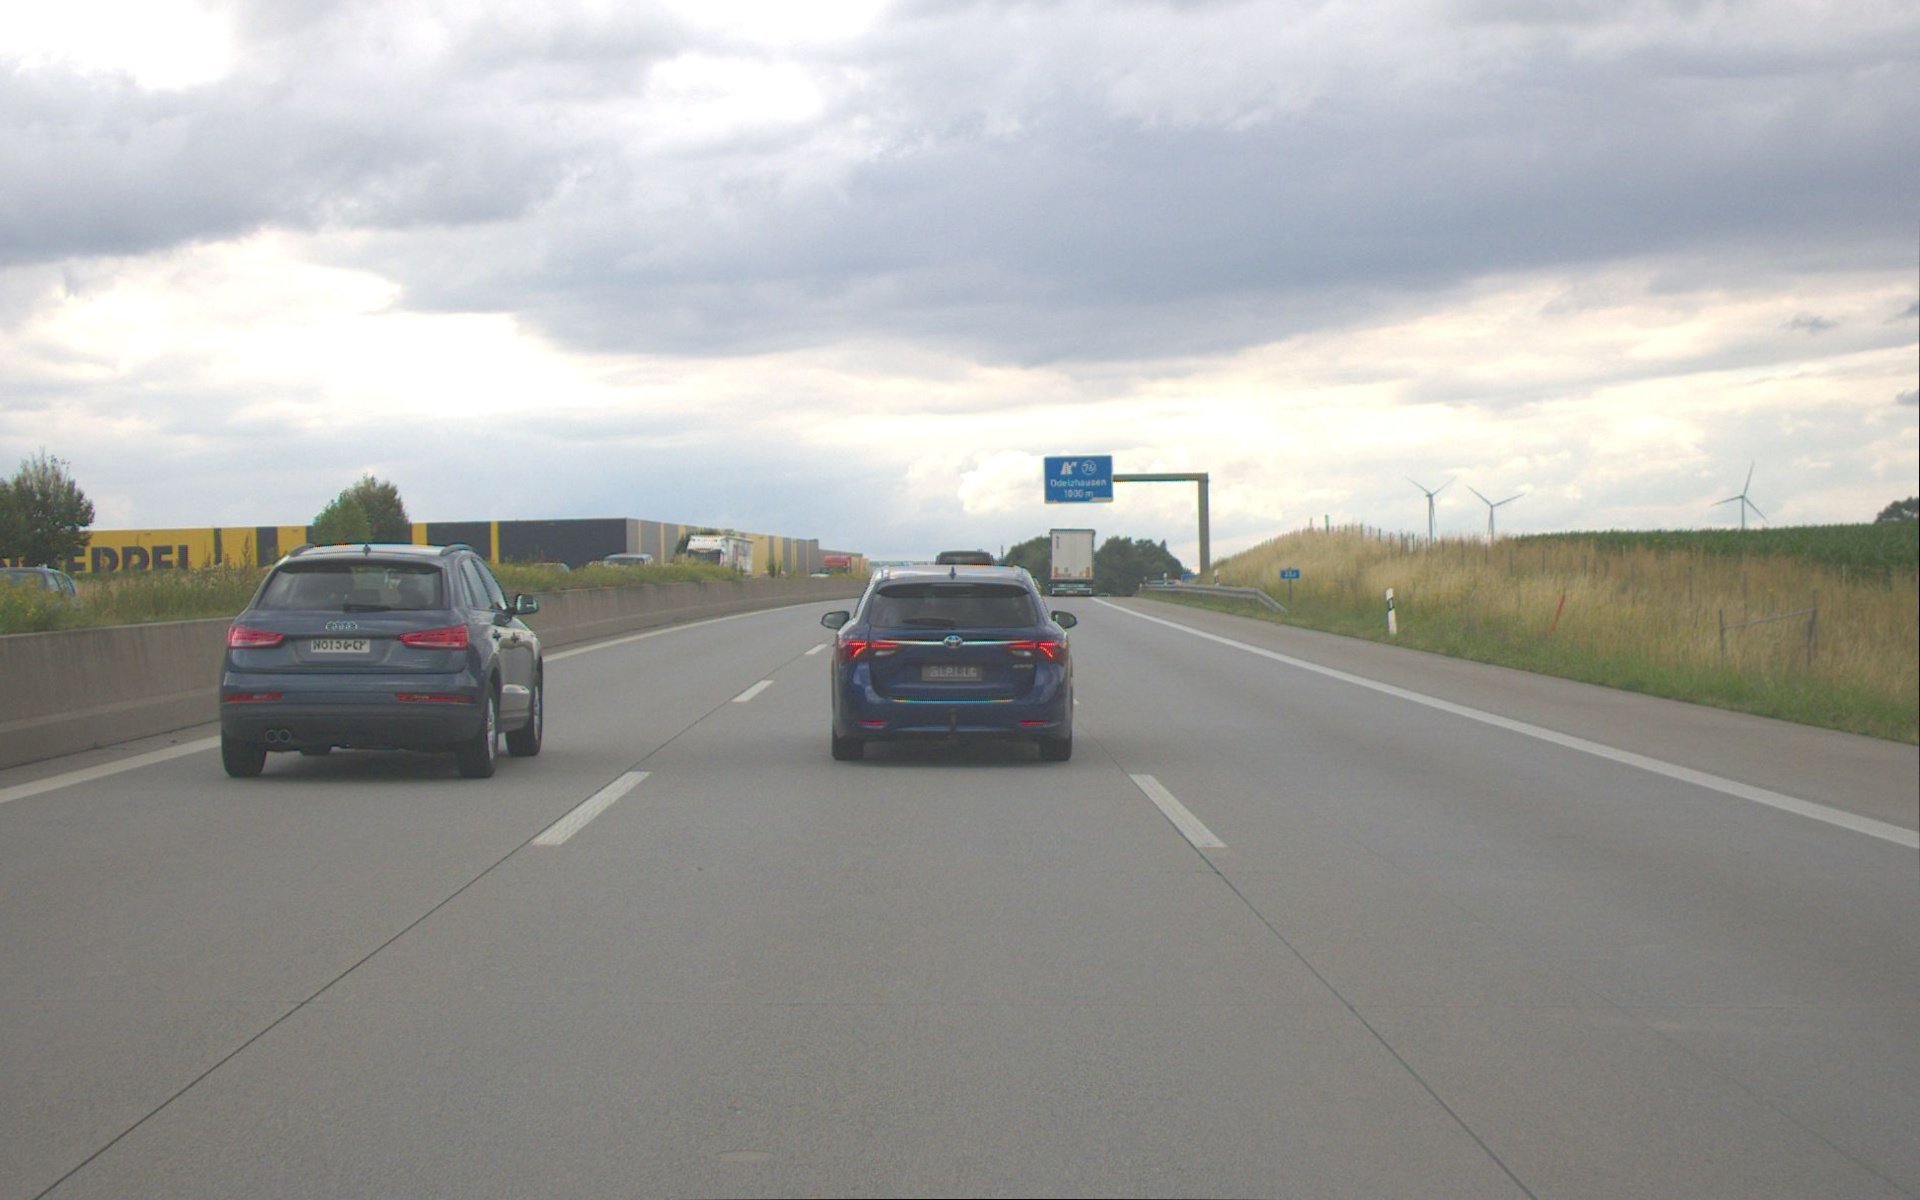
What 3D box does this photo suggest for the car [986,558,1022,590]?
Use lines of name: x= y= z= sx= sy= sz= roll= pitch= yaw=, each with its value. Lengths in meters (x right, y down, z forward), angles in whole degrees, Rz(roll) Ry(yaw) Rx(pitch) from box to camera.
car: x=2.798 y=-1.659 z=220.316 sx=1.993 sy=2.007 sz=4.000 roll=1 pitch=0 yaw=-3

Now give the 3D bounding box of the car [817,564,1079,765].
car: x=-0.163 y=0.438 z=26.260 sx=1.774 sy=1.408 sz=4.001 roll=0 pitch=0 yaw=-3

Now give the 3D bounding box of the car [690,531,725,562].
car: x=-16.667 y=-3.531 z=227.341 sx=1.993 sy=2.007 sz=4.000 roll=1 pitch=0 yaw=0

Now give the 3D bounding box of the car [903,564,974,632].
car: x=-0.677 y=-0.055 z=104.286 sx=1.993 sy=2.007 sz=4.000 roll=1 pitch=0 yaw=-2

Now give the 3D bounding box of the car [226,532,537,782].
car: x=-4.043 y=0.330 z=24.738 sx=1.792 sy=1.590 sz=5.158 roll=1 pitch=1 yaw=-5

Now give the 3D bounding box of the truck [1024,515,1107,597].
truck: x=6.319 y=-2.600 z=208.252 sx=3.950 sy=4.740 sz=12.077 roll=1 pitch=0 yaw=-3

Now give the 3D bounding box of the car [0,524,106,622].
car: x=-16.055 y=-0.449 z=58.563 sx=1.993 sy=1.606 sz=4.115 roll=1 pitch=0 yaw=0
